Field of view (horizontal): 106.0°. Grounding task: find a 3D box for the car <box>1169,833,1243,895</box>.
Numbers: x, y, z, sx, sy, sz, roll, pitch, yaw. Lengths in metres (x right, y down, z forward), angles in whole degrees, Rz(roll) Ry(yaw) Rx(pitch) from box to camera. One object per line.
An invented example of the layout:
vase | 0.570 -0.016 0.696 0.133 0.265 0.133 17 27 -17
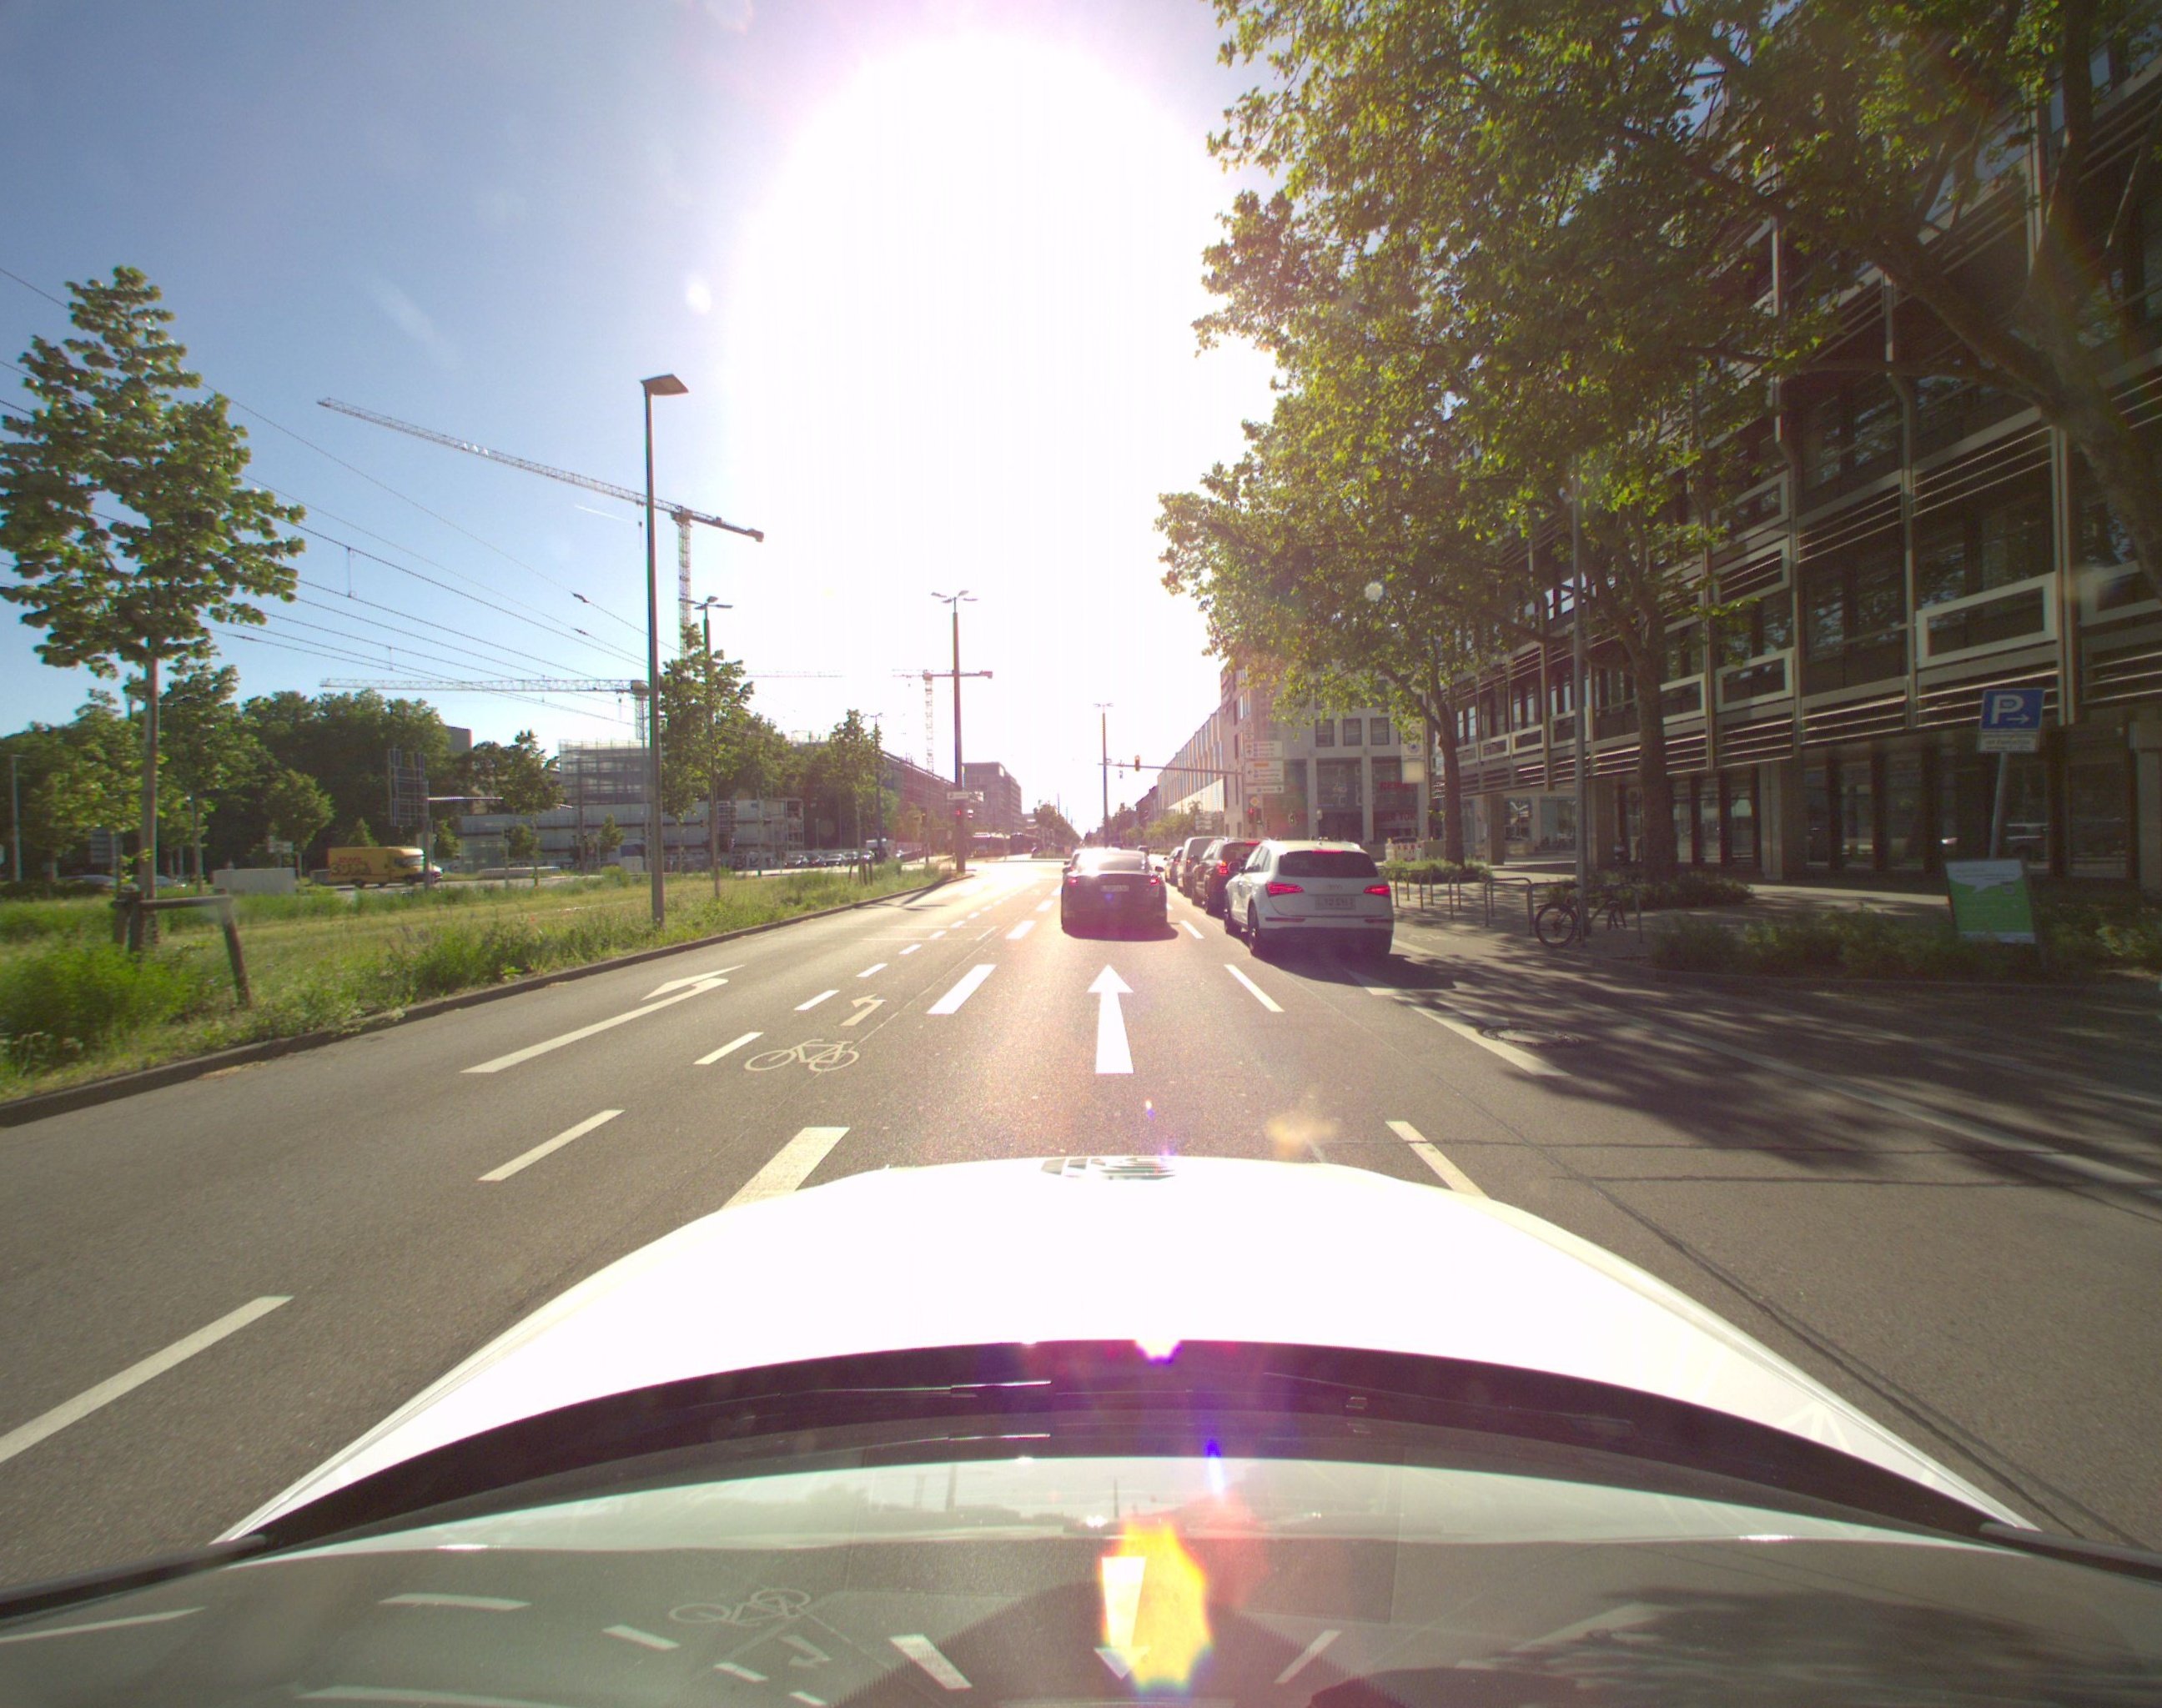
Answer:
car | 3.882 0.256 25.912 1.716 1.782 4.186 -1 1 0

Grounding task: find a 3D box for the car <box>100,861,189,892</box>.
car | -62.572 1.473 54.451 3.970 2.014 1.771 1 0 3

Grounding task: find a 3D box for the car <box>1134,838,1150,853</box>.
car | 8.661 -1.163 115.666 1.986 2.013 4.001 1 0 2

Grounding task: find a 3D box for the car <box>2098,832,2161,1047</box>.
car | 8.297 0.613 3.703 1.697 1.492 4.602 -1 1 2

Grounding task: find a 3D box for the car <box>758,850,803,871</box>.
car | -17.572 0.380 47.677 1.371 1.178 3.221 1 0 1

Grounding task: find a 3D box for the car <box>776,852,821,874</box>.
car | -15.961 0.508 46.128 1.371 1.178 3.221 1 0 1

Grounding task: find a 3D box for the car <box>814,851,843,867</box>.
car | -27.229 0.554 87.922 1.831 1.612 3.896 1 0 1

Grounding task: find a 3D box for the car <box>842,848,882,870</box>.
car | -12.712 0.282 47.396 1.371 1.178 3.221 1 0 1

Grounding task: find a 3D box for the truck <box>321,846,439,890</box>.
truck | -49.456 0.981 57.502 6.930 2.963 2.003 1 0 5

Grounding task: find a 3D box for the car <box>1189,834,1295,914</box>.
car | 3.642 0.385 19.102 1.715 1.653 4.187 -1 1 1

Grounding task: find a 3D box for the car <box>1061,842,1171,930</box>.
car | 0.651 0.536 16.348 1.905 1.486 4.010 -1 1 1

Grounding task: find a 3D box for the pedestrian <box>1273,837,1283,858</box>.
pedestrian | 13.566 -0.463 56.115 0.559 1.440 0.633 0 0 8

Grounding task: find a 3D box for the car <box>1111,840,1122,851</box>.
car | 6.400 -1.494 146.136 1.986 2.013 4.001 1 0 2

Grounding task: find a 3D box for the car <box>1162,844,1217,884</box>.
car | 4.224 0.338 32.217 1.715 1.431 4.188 -1 1 2

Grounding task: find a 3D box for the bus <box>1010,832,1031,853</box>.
bus | -9.225 -1.707 124.268 2.620 2.959 9.894 1 0 -1

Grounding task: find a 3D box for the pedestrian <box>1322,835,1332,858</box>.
pedestrian | 16.018 -0.492 53.080 0.559 1.440 0.633 0 0 8

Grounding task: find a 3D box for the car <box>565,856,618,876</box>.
car | -39.550 0.922 65.908 1.704 1.556 4.002 1 0 2

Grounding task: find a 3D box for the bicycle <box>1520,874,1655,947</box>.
bicycle | 7.456 0.820 12.011 1.689 0.957 0.478 -3 1 -3

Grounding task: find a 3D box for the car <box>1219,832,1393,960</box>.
car | 3.264 0.510 12.626 1.714 1.618 4.190 -1 1 3

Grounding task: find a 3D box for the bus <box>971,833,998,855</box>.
bus | -12.697 -1.245 107.415 2.620 2.783 8.840 1 0 -1

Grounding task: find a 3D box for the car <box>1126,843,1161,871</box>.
car | 3.431 0.121 45.207 1.715 1.431 4.188 -1 1 2
